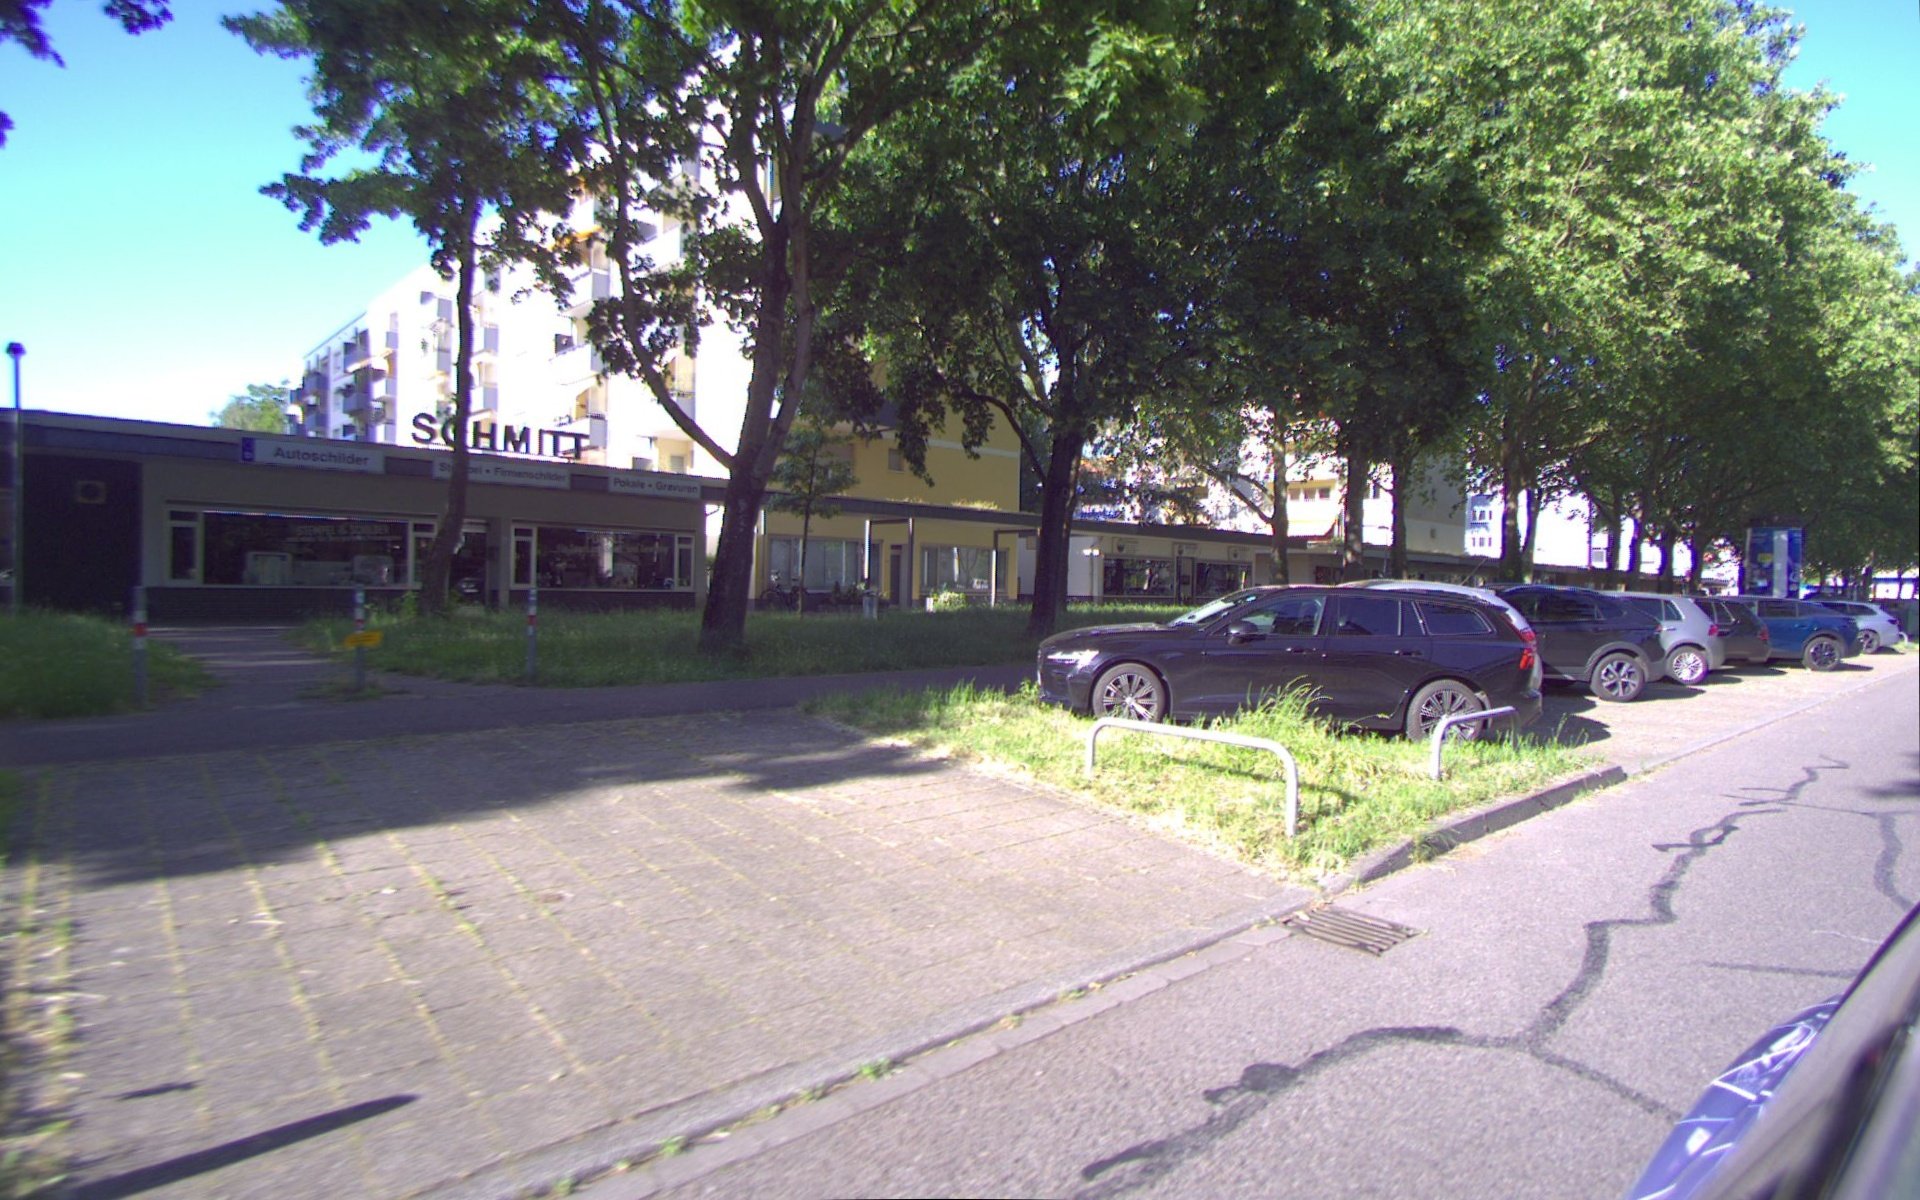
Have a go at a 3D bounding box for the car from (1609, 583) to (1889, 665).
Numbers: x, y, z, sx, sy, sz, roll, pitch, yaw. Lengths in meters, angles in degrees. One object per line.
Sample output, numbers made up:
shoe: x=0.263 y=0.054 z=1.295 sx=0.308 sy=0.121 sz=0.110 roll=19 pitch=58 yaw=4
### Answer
car: x=16.569 y=0.462 z=21.454 sx=4.254 sy=1.442 sz=1.854 roll=2 pitch=2 yaw=6

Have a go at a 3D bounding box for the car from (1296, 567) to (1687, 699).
car: x=7.454 y=0.407 z=14.597 sx=4.542 sy=1.589 sz=1.855 roll=2 pitch=2 yaw=5

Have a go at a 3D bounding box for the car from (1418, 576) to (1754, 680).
car: x=10.481 y=0.427 z=17.257 sx=4.382 sy=1.468 sz=1.919 roll=2 pitch=3 yaw=5

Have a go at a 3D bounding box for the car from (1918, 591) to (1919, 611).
car: x=69.704 y=0.172 z=70.674 sx=3.870 sy=1.390 sz=1.585 roll=2 pitch=2 yaw=6

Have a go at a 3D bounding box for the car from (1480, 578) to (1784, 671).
car: x=12.726 y=0.415 z=19.455 sx=4.386 sy=1.468 sz=1.917 roll=2 pitch=3 yaw=7

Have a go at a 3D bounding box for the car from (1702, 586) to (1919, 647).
car: x=24.069 y=0.426 z=28.761 sx=4.416 sy=1.461 sz=1.854 roll=2 pitch=2 yaw=6

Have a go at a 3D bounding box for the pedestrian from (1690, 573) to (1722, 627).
pedestrian: x=27.374 y=0.008 z=37.134 sx=0.872 sy=1.938 sz=0.859 roll=2 pitch=1 yaw=41

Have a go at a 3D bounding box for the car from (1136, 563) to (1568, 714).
car: x=4.546 y=0.392 z=12.391 sx=4.544 sy=1.589 sz=1.854 roll=1 pitch=1 yaw=6

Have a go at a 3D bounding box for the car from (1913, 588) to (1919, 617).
car: x=59.942 y=0.264 z=60.483 sx=3.961 sy=1.726 sz=1.757 roll=2 pitch=2 yaw=8

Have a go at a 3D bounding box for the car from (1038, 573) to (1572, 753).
car: x=3.086 y=0.522 z=9.942 sx=4.540 sy=1.477 sz=1.978 roll=1 pitch=1 yaw=3

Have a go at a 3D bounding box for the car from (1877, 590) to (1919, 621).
car: x=49.366 y=0.320 z=51.215 sx=4.024 sy=1.499 sz=1.645 roll=2 pitch=2 yaw=14
